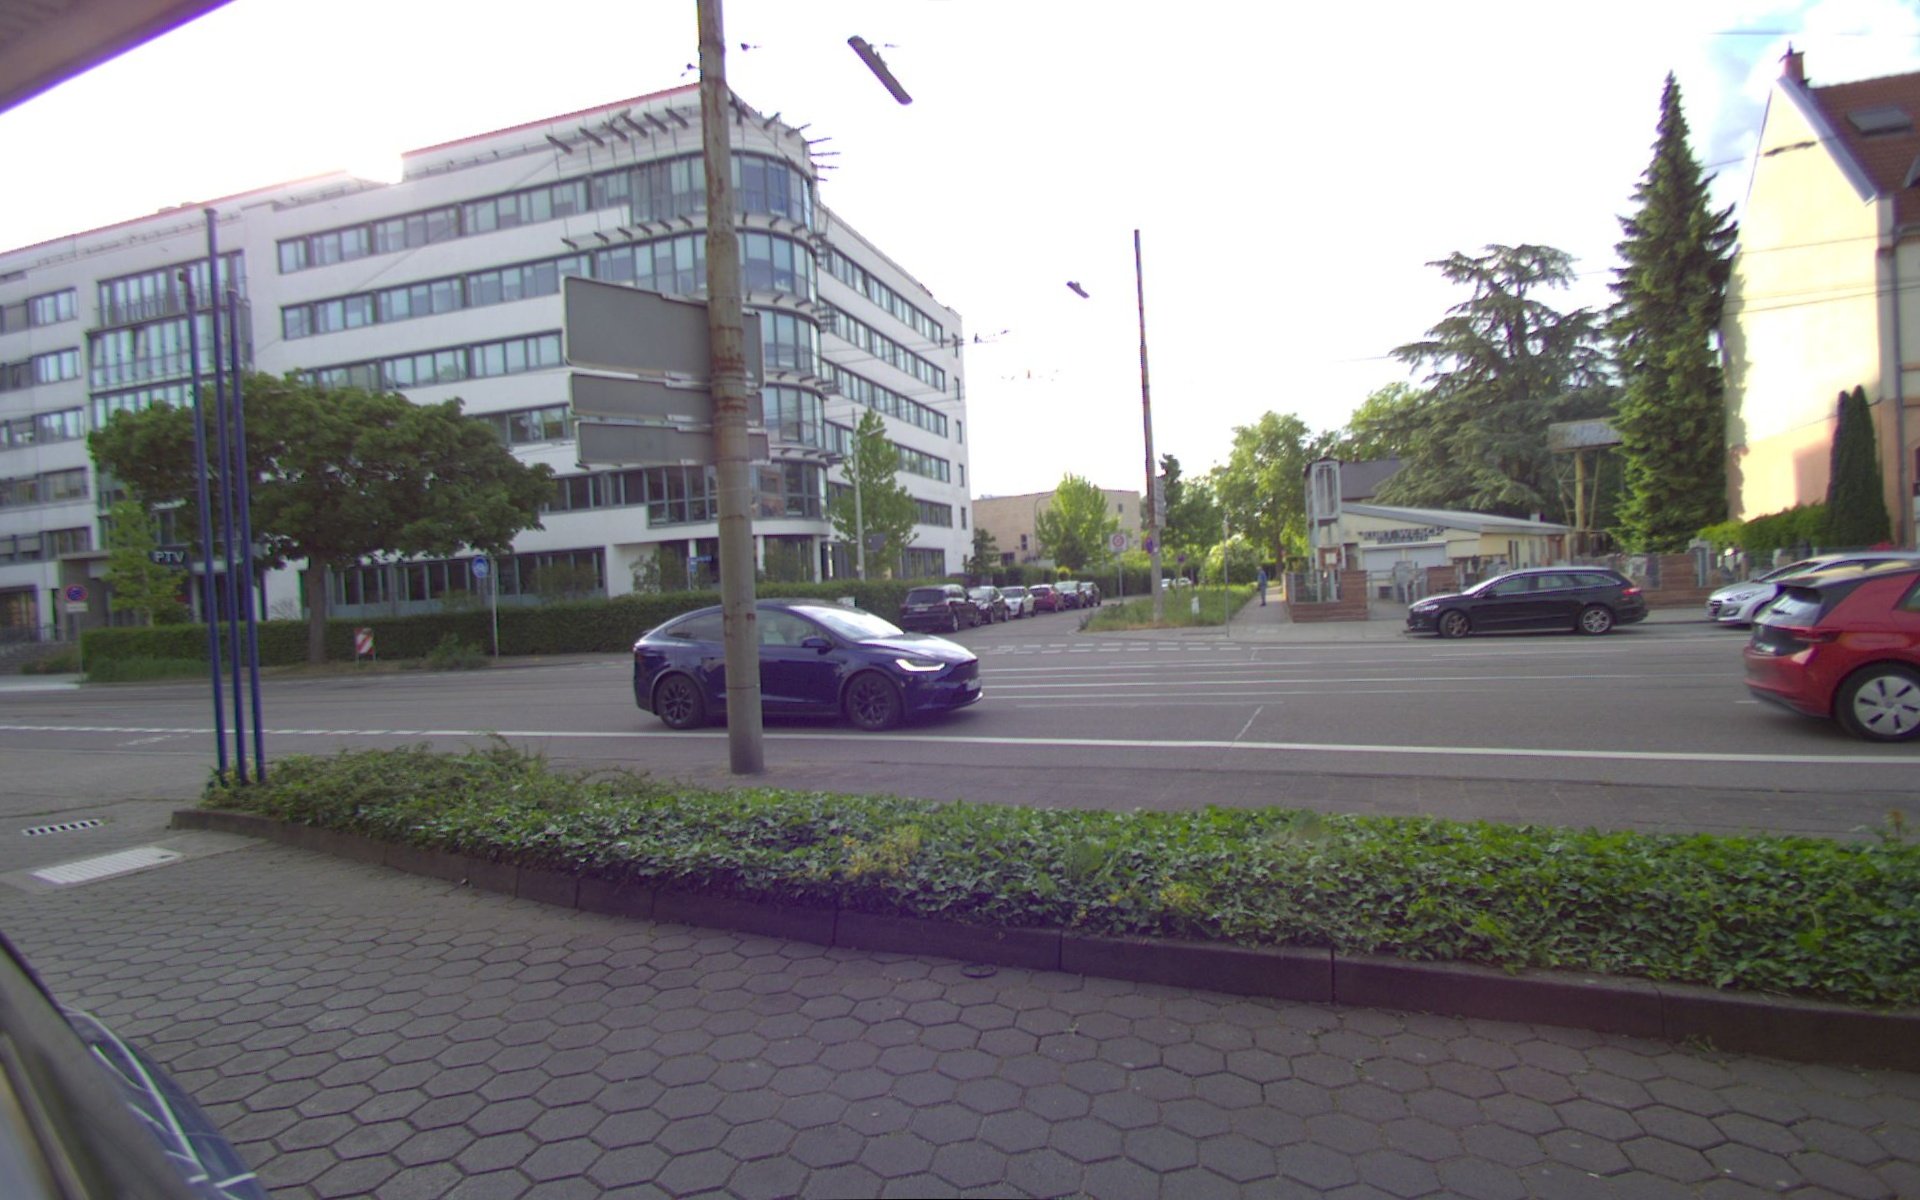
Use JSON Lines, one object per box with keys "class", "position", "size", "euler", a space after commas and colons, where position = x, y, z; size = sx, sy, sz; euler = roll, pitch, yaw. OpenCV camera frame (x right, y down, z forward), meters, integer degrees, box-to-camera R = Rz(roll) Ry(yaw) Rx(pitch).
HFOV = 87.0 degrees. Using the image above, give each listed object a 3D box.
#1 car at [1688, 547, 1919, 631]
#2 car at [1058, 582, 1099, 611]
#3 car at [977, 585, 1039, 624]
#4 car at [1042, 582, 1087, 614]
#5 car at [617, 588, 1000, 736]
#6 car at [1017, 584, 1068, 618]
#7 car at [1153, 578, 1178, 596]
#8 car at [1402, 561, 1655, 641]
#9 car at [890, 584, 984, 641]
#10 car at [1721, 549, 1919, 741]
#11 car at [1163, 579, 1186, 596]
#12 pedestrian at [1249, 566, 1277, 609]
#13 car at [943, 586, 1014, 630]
{"class": "car", "position": [18.504, -0.257, 21.501], "size": [4.459, 1.486, 1.986], "euler": [-4, 0, 22]}
{"class": "car", "position": [7.384, -0.246, 62.674], "size": [1.773, 1.653, 4.064], "euler": [-4, 0, 17]}
{"class": "car", "position": [2.218, 0.167, 45.758], "size": [1.773, 1.565, 4.083], "euler": [-4, 0, 17]}
{"class": "car", "position": [5.993, -0.148, 57.663], "size": [1.773, 1.653, 4.064], "euler": [-4, 0, 17]}
{"class": "car", "position": [-2.059, 0.819, 13.587], "size": [4.820, 1.669, 1.757], "euler": [-3, 2, 23]}
{"class": "car", "position": [4.298, 0.013, 52.362], "size": [1.773, 1.552, 4.018], "euler": [-4, 0, 17]}
{"class": "car", "position": [20.437, -1.294, 100.616], "size": [1.774, 1.653, 4.060], "euler": [-4, 0, 19]}
{"class": "car", "position": [12.928, 0.043, 23.418], "size": [4.791, 1.507, 1.986], "euler": [-3, 0, 22]}
{"class": "car", "position": [-0.710, 0.375, 35.539], "size": [1.962, 1.625, 4.411], "euler": [-4, 2, 17]}
{"class": "car", "position": [9.352, 0.306, 8.726], "size": [4.107, 1.554, 1.756], "euler": [-3, 2, 25]}
{"class": "car", "position": [22.575, -1.324, 106.313], "size": [1.774, 1.653, 4.060], "euler": [-4, 0, 19]}
{"class": "pedestrian", "position": [13.089, -0.534, 43.733], "size": [1.000, 1.843, 1.083], "euler": [-1, 0, 25]}
{"class": "car", "position": [0.810, 0.282, 40.896], "size": [1.773, 1.565, 4.083], "euler": [-4, 0, 17]}
